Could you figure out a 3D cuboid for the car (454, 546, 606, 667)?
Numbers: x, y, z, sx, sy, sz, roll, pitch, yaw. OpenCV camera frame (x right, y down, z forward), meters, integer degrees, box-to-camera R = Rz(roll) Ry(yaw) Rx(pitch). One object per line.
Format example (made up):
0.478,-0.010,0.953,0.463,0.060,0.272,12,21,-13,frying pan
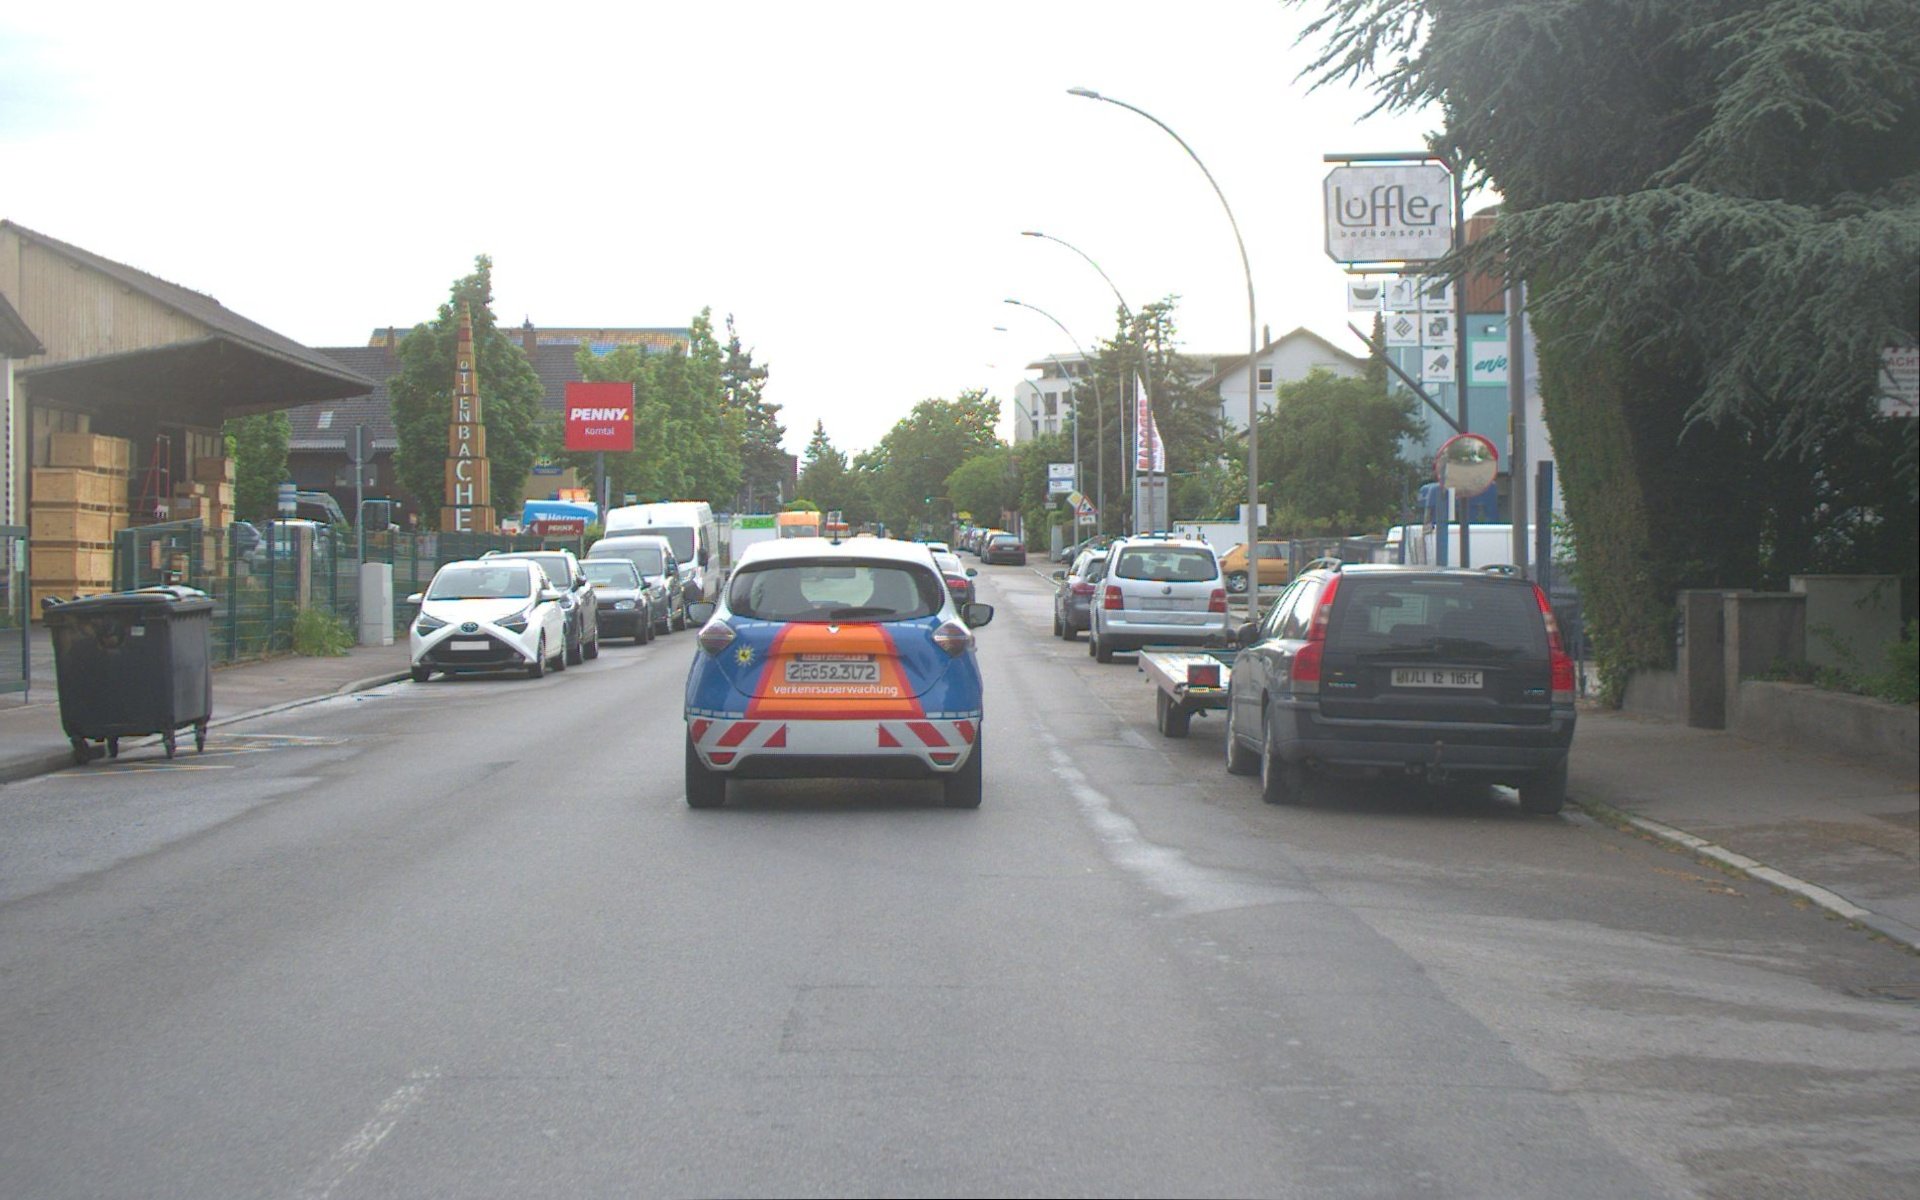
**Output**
-6.015,0.063,48.427,1.661,1.579,3.917,-2,1,-1,car

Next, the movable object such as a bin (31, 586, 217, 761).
-6.513,0.557,26.874,1.100,1.306,1.425,1,1,-1,movable object such as a bin

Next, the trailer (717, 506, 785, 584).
-6.500,-1.739,107.107,1.812,2.306,4.731,-3,1,-1,trailer

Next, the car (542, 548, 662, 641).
-5.956,-0.124,57.583,1.661,1.443,4.318,-2,1,-2,car

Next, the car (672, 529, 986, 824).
-0.765,0.399,20.822,1.731,1.625,3.495,0,1,-1,car

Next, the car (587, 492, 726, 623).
-6.098,-0.882,69.806,2.158,2.418,6.460,-3,1,0,car

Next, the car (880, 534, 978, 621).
-0.593,-0.423,62.803,1.650,1.516,4.000,1,1,-2,car

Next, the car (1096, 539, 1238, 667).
2.741,0.012,46.294,1.739,1.616,4.373,1,1,1,car

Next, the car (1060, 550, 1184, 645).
2.600,-0.074,56.046,1.738,1.461,4.546,1,1,-1,car

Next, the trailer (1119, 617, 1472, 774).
2.576,0.705,28.156,2.173,0.894,6.637,1,1,-1,trailer

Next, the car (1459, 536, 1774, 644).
9.363,-0.160,49.302,4.103,1.452,2.000,1,1,0,car

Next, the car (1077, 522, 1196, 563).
6.608,-2.149,129.099,4.338,1.470,1.903,0,1,-1,car

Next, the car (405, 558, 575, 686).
-5.902,0.242,43.519,1.616,1.504,3.660,-2,1,0,car

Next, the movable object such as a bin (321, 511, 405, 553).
-25.575,-2.916,147.366,3.421,1.753,2.000,1,1,-7,movable object such as a bin

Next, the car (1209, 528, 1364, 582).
8.778,-1.217,92.694,3.986,1.425,1.631,0,1,-2,car

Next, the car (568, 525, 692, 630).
-6.098,-0.434,64.020,1.769,1.762,4.446,-4,1,0,car

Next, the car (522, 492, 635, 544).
-15.321,-3.297,138.226,4.306,2.007,2.063,1,1,0,car

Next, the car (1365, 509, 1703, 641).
8.602,-0.380,51.807,4.731,1.880,2.000,1,1,0,car

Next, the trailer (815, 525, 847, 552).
-7.001,-3.351,186.302,1.717,1.256,5.245,1,3,-2,trailer

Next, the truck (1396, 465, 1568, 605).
14.631,-1.827,96.569,4.143,3.661,2.720,3,1,-3,truck

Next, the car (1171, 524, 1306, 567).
9.494,-1.860,117.357,4.415,1.388,1.880,1,1,-1,car

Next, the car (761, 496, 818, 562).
-6.786,-2.851,137.342,2.124,2.529,6.023,-1,1,-2,car

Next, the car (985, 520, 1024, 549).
2.054,-3.044,159.264,1.589,1.336,4.093,0,1,-2,car

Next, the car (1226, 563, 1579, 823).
2.693,0.504,21.873,1.740,1.428,4.648,1,1,1,car
